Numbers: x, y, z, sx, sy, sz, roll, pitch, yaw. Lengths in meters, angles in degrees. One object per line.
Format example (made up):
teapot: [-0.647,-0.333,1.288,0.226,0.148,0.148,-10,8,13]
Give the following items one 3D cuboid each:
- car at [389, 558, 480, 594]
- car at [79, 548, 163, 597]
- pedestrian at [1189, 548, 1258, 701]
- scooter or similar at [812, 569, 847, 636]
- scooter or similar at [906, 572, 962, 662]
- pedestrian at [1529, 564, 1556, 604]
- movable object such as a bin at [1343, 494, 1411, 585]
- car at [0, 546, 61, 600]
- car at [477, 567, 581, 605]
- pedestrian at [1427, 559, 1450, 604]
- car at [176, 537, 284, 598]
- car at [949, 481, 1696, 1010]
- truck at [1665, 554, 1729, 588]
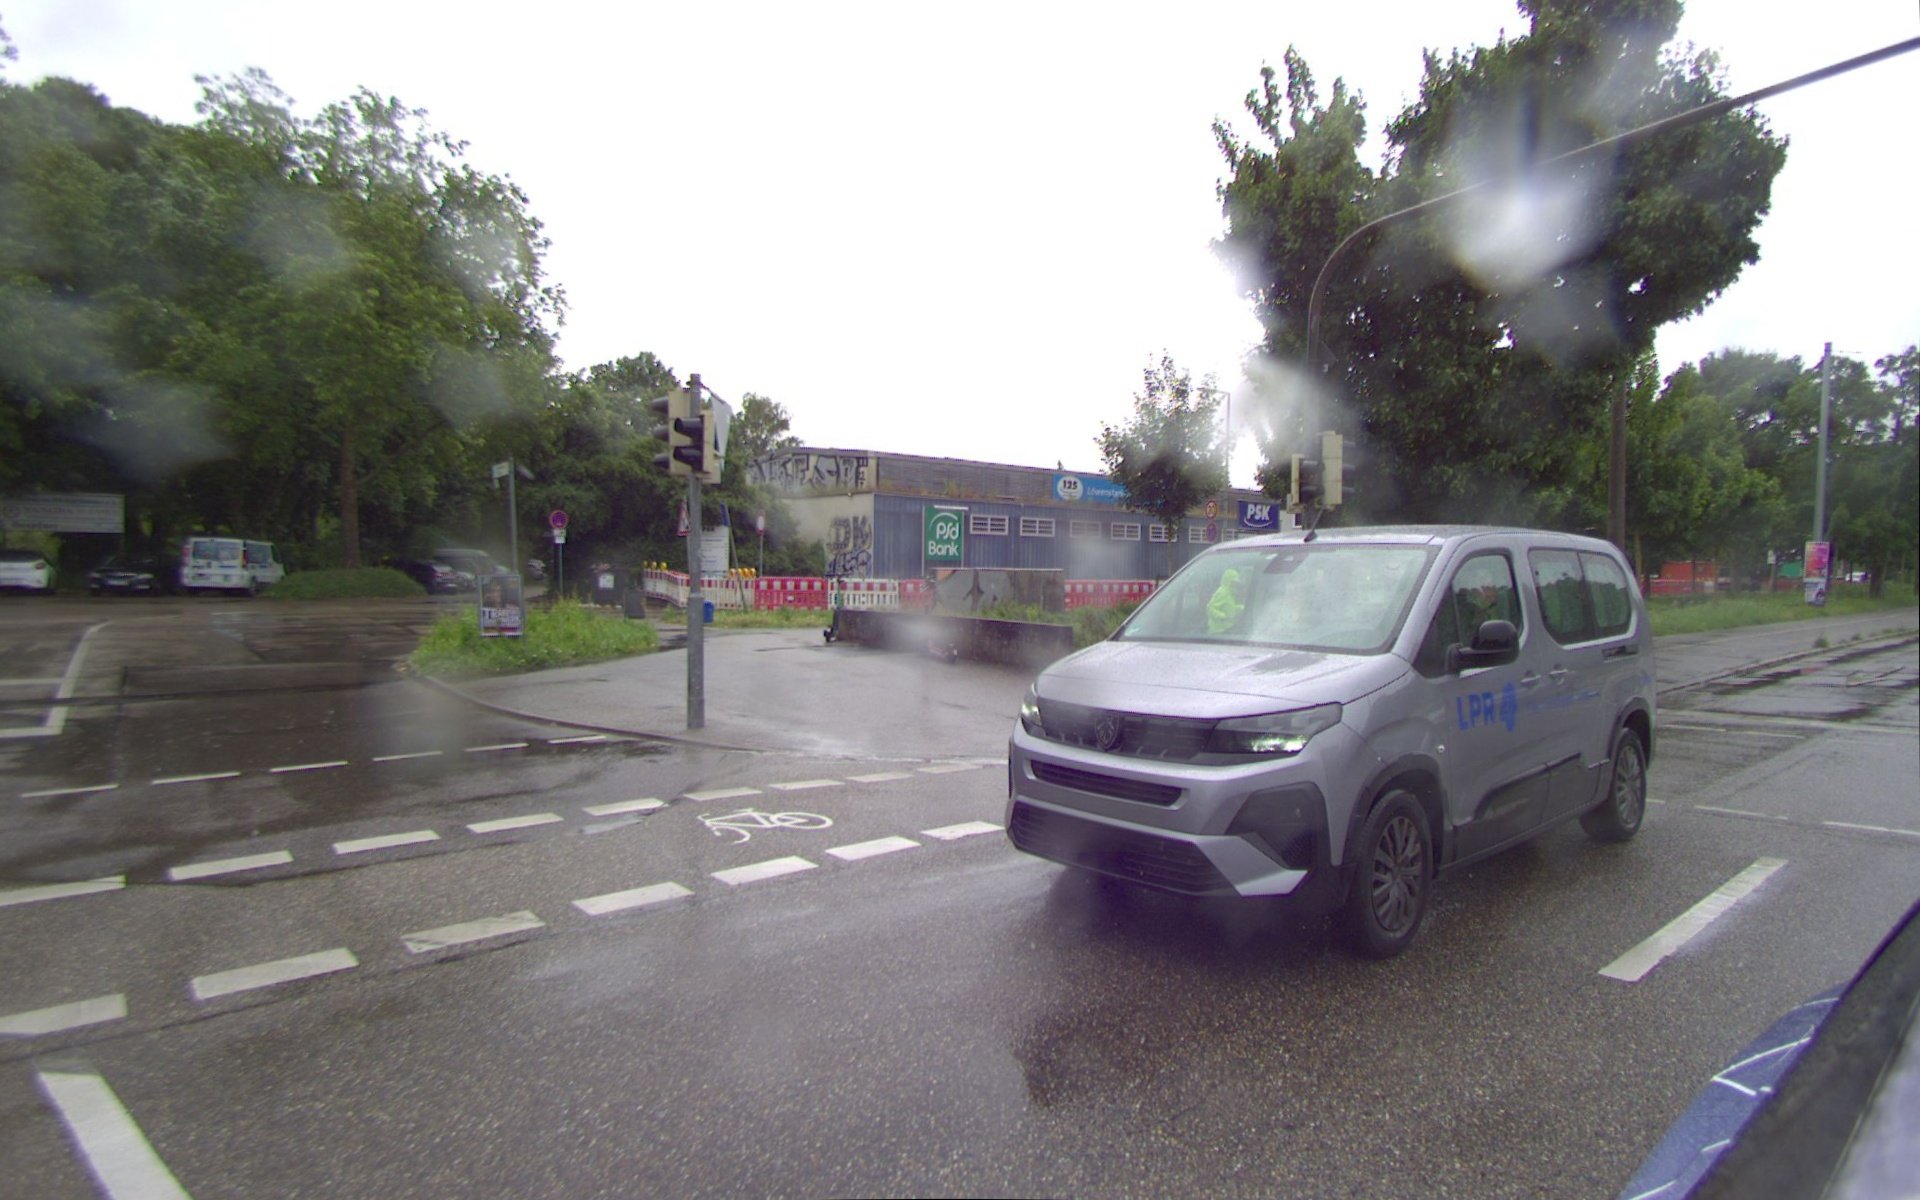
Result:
car: [-26.079,-1.189,50.254,3.921,1.672,1.704,-2,1,-30]
car: [-27.687,-0.880,33.504,1.890,1.507,4.193,-2,1,-37]
pedestrian: [3.137,0.259,12.027,0.660,1.698,0.786,4,5,17]
scooter or similar: [-2.358,0.043,18.298,0.549,1.191,0.286,0,2,-33]
scooter or similar: [-0.394,0.233,15.019,0.316,1.244,0.961,0,4,-35]
pedestrian: [29.050,-0.814,50.483,1.192,1.960,0.814,-2,1,-41]
movable object such as a bin: [21.478,-3.062,52.074,3.839,4.481,1.557,-2,1,-39]
car: [-29.686,-0.808,31.876,1.689,1.617,3.667,-2,1,-37]
car: [-18.676,-0.608,44.037,3.916,1.529,1.706,-1,1,-14]
pedestrian: [20.569,-0.810,43.480,0.861,1.920,0.580,-2,1,-40]
car: [-25.560,-1.117,35.599,1.885,1.989,4.204,-1,1,-19]
car: [2.296,0.440,5.696,4.482,1.818,1.997,-2,1,-40]
truck: [67.441,-2.693,92.491,8.598,2.935,2.809,-2,1,-41]
